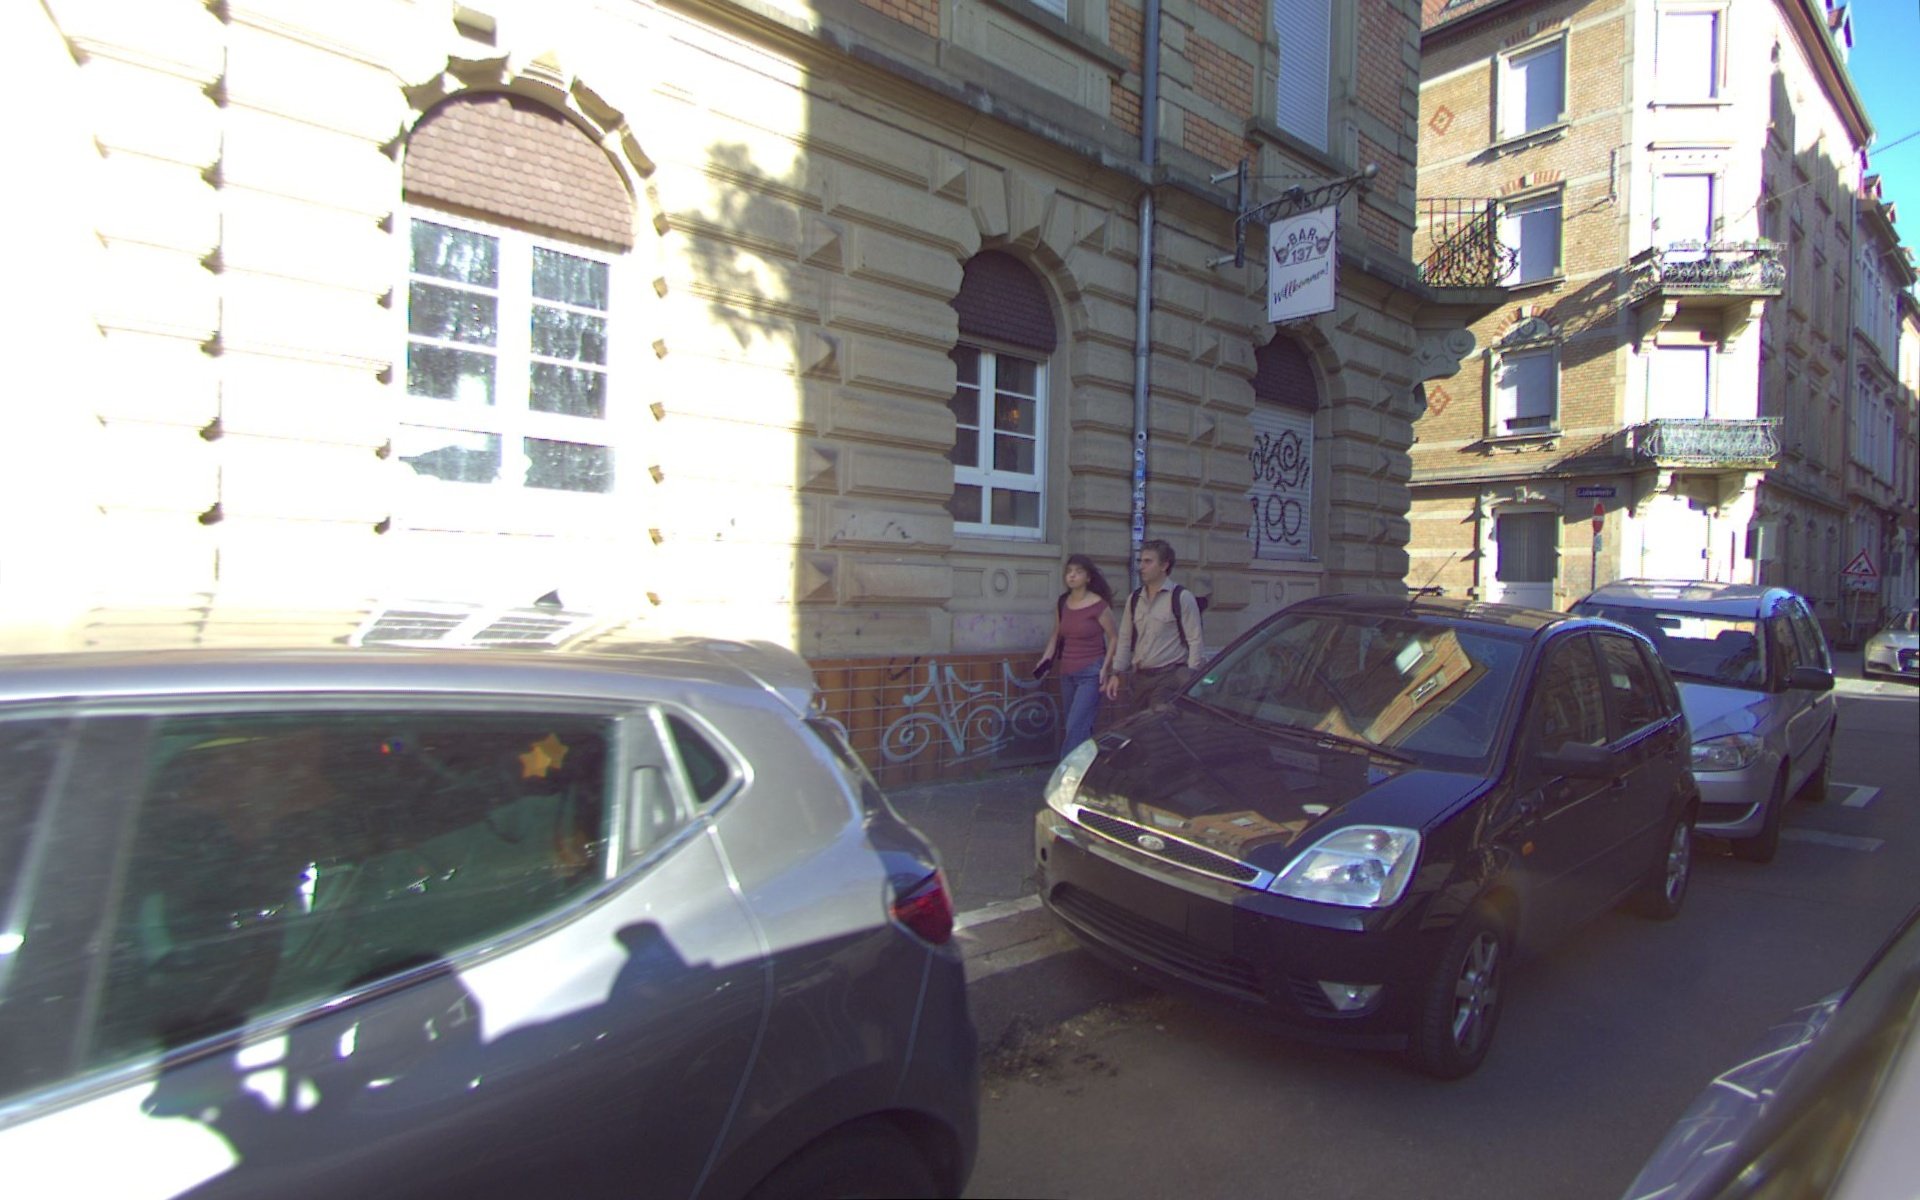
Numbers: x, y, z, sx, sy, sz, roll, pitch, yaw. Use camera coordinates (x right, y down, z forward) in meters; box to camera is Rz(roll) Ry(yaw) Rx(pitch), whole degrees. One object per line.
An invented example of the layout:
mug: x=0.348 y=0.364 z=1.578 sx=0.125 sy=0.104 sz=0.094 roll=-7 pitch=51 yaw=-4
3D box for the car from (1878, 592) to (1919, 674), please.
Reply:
car: x=19.184 y=0.603 z=19.466 sx=4.431 sy=1.477 sz=1.709 roll=0 pitch=0 yaw=-40

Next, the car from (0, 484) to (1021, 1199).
car: x=-1.800 y=0.673 z=1.079 sx=3.844 sy=1.544 sz=1.573 roll=0 pitch=-1 yaw=-45

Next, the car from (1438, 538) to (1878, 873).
car: x=5.094 y=0.515 z=7.176 sx=3.871 sy=1.735 sz=1.706 roll=0 pitch=2 yaw=-42

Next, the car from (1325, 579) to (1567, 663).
car: x=10.118 y=0.367 z=21.282 sx=4.242 sy=1.489 sz=1.741 roll=3 pitch=2 yaw=44

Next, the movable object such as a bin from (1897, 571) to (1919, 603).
movable object such as a bin: x=33.116 y=-0.436 z=35.004 sx=0.710 sy=1.074 sz=0.897 roll=1 pitch=4 yaw=-42

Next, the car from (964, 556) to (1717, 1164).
car: x=1.881 y=0.647 z=4.370 sx=3.619 sy=1.531 sz=1.537 roll=0 pitch=2 yaw=-42

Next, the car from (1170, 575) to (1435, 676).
car: x=5.715 y=0.363 z=17.287 sx=1.702 sy=1.470 sz=3.990 roll=1 pitch=1 yaw=-39

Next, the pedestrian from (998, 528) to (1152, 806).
pedestrian: x=0.732 y=0.387 z=6.438 sx=0.721 sy=1.642 sz=0.575 roll=1 pitch=2 yaw=-42

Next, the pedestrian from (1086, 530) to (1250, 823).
pedestrian: x=1.248 y=0.417 z=6.068 sx=0.715 sy=1.623 sz=0.592 roll=1 pitch=2 yaw=-42

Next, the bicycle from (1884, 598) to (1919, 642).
bicycle: x=30.491 y=0.629 z=32.620 sx=1.662 sy=1.319 sz=0.729 roll=0 pitch=4 yaw=-40
